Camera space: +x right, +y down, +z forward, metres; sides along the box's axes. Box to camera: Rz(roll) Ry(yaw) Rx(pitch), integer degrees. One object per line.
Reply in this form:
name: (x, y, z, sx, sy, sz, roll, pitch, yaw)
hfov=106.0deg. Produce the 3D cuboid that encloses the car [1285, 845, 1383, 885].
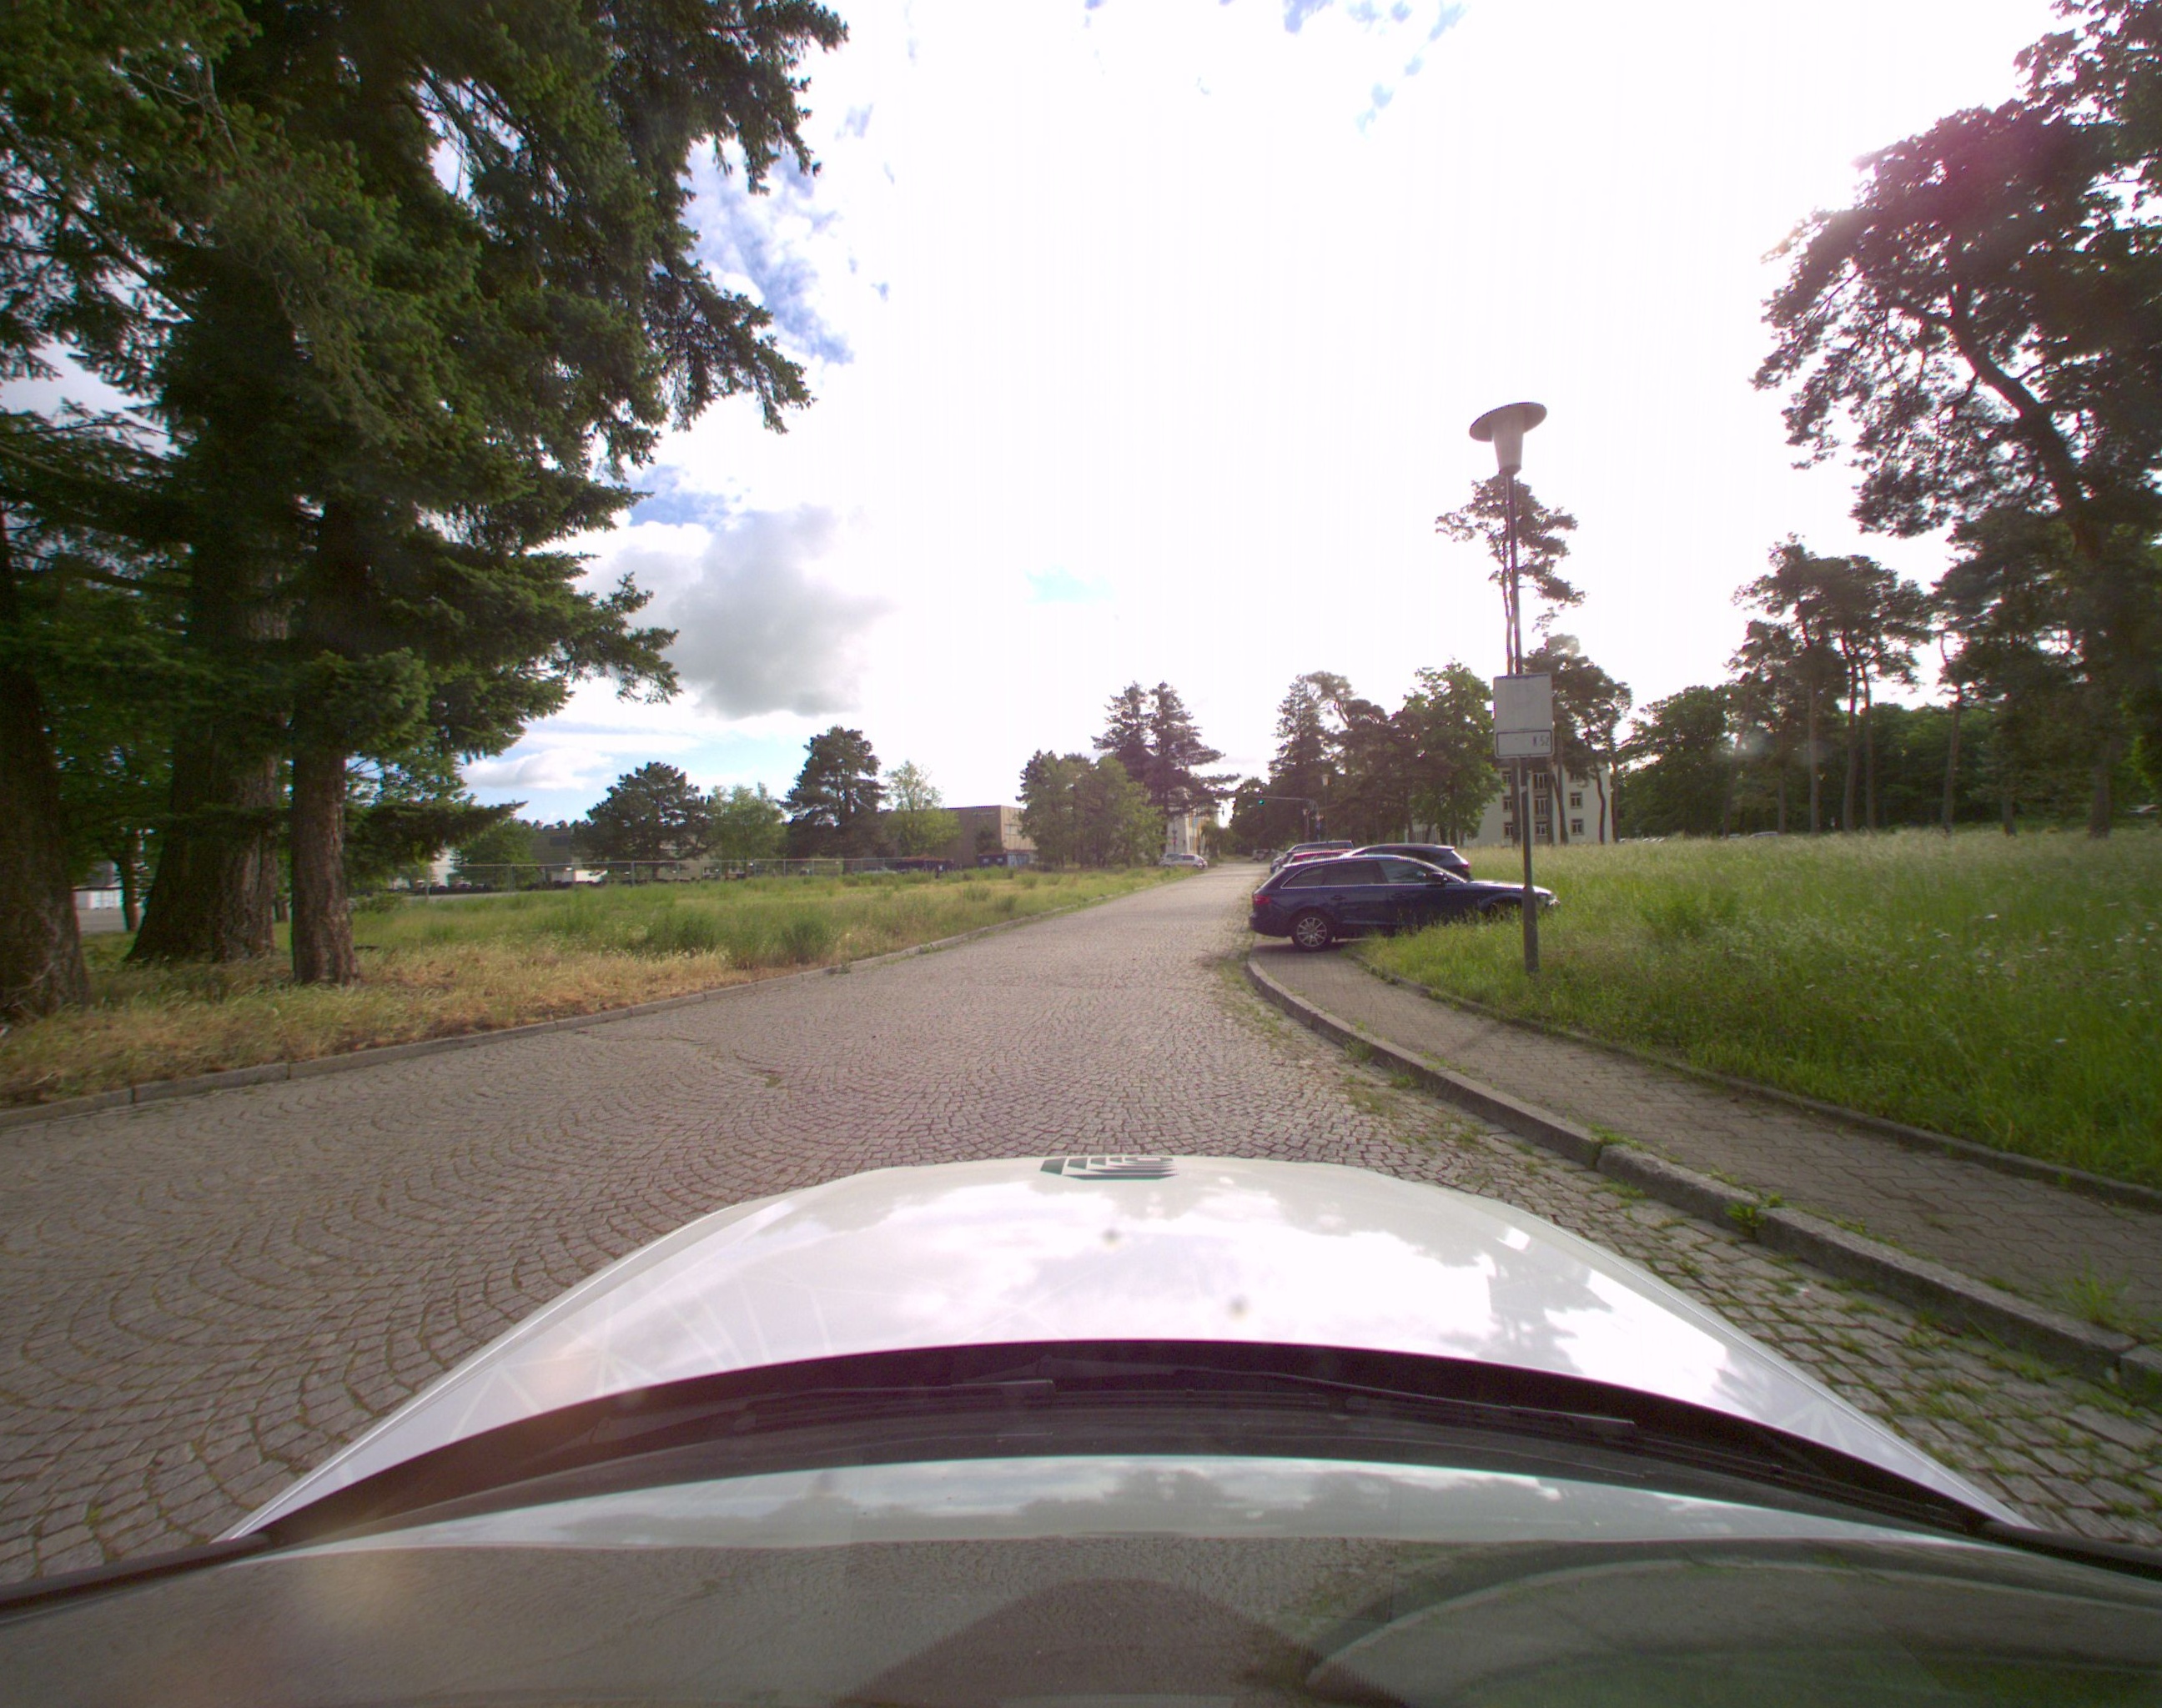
car: (10.846, 0.480, 35.159, 3.913, 1.520, 1.713, -3, -1, 14)

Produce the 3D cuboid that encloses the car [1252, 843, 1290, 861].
car: (31.663, -0.317, 135.825, 5.747, 2.562, 2.776, -5, 0, 8)

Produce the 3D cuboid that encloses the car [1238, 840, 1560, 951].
car: (4.838, 0.648, 12.882, 4.396, 1.480, 1.690, -3, -1, 17)

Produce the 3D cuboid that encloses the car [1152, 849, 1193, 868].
car: (8.599, 0.406, 76.439, 3.701, 1.437, 1.629, -5, 0, 6)

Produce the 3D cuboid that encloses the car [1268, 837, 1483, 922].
car: (6.177, 0.532, 17.564, 4.110, 1.573, 1.796, -3, 0, 12)

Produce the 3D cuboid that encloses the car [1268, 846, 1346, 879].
car: (12.218, 0.462, 44.212, 3.893, 1.393, 1.749, -5, 0, 12)

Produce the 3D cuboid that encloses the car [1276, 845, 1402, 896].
car: (8.645, 0.561, 27.588, 3.857, 1.478, 1.678, -3, -1, 13)

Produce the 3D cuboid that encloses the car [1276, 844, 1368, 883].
car: (11.093, 0.437, 37.722, 3.880, 1.603, 1.827, -2, -1, 11)

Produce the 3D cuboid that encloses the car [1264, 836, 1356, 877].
car: (13.013, 0.130, 46.530, 4.788, 1.865, 2.169, -5, 0, 12)

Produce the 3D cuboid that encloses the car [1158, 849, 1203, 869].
car: (8.660, 0.414, 70.981, 3.697, 1.437, 1.631, -4, 0, 10)
